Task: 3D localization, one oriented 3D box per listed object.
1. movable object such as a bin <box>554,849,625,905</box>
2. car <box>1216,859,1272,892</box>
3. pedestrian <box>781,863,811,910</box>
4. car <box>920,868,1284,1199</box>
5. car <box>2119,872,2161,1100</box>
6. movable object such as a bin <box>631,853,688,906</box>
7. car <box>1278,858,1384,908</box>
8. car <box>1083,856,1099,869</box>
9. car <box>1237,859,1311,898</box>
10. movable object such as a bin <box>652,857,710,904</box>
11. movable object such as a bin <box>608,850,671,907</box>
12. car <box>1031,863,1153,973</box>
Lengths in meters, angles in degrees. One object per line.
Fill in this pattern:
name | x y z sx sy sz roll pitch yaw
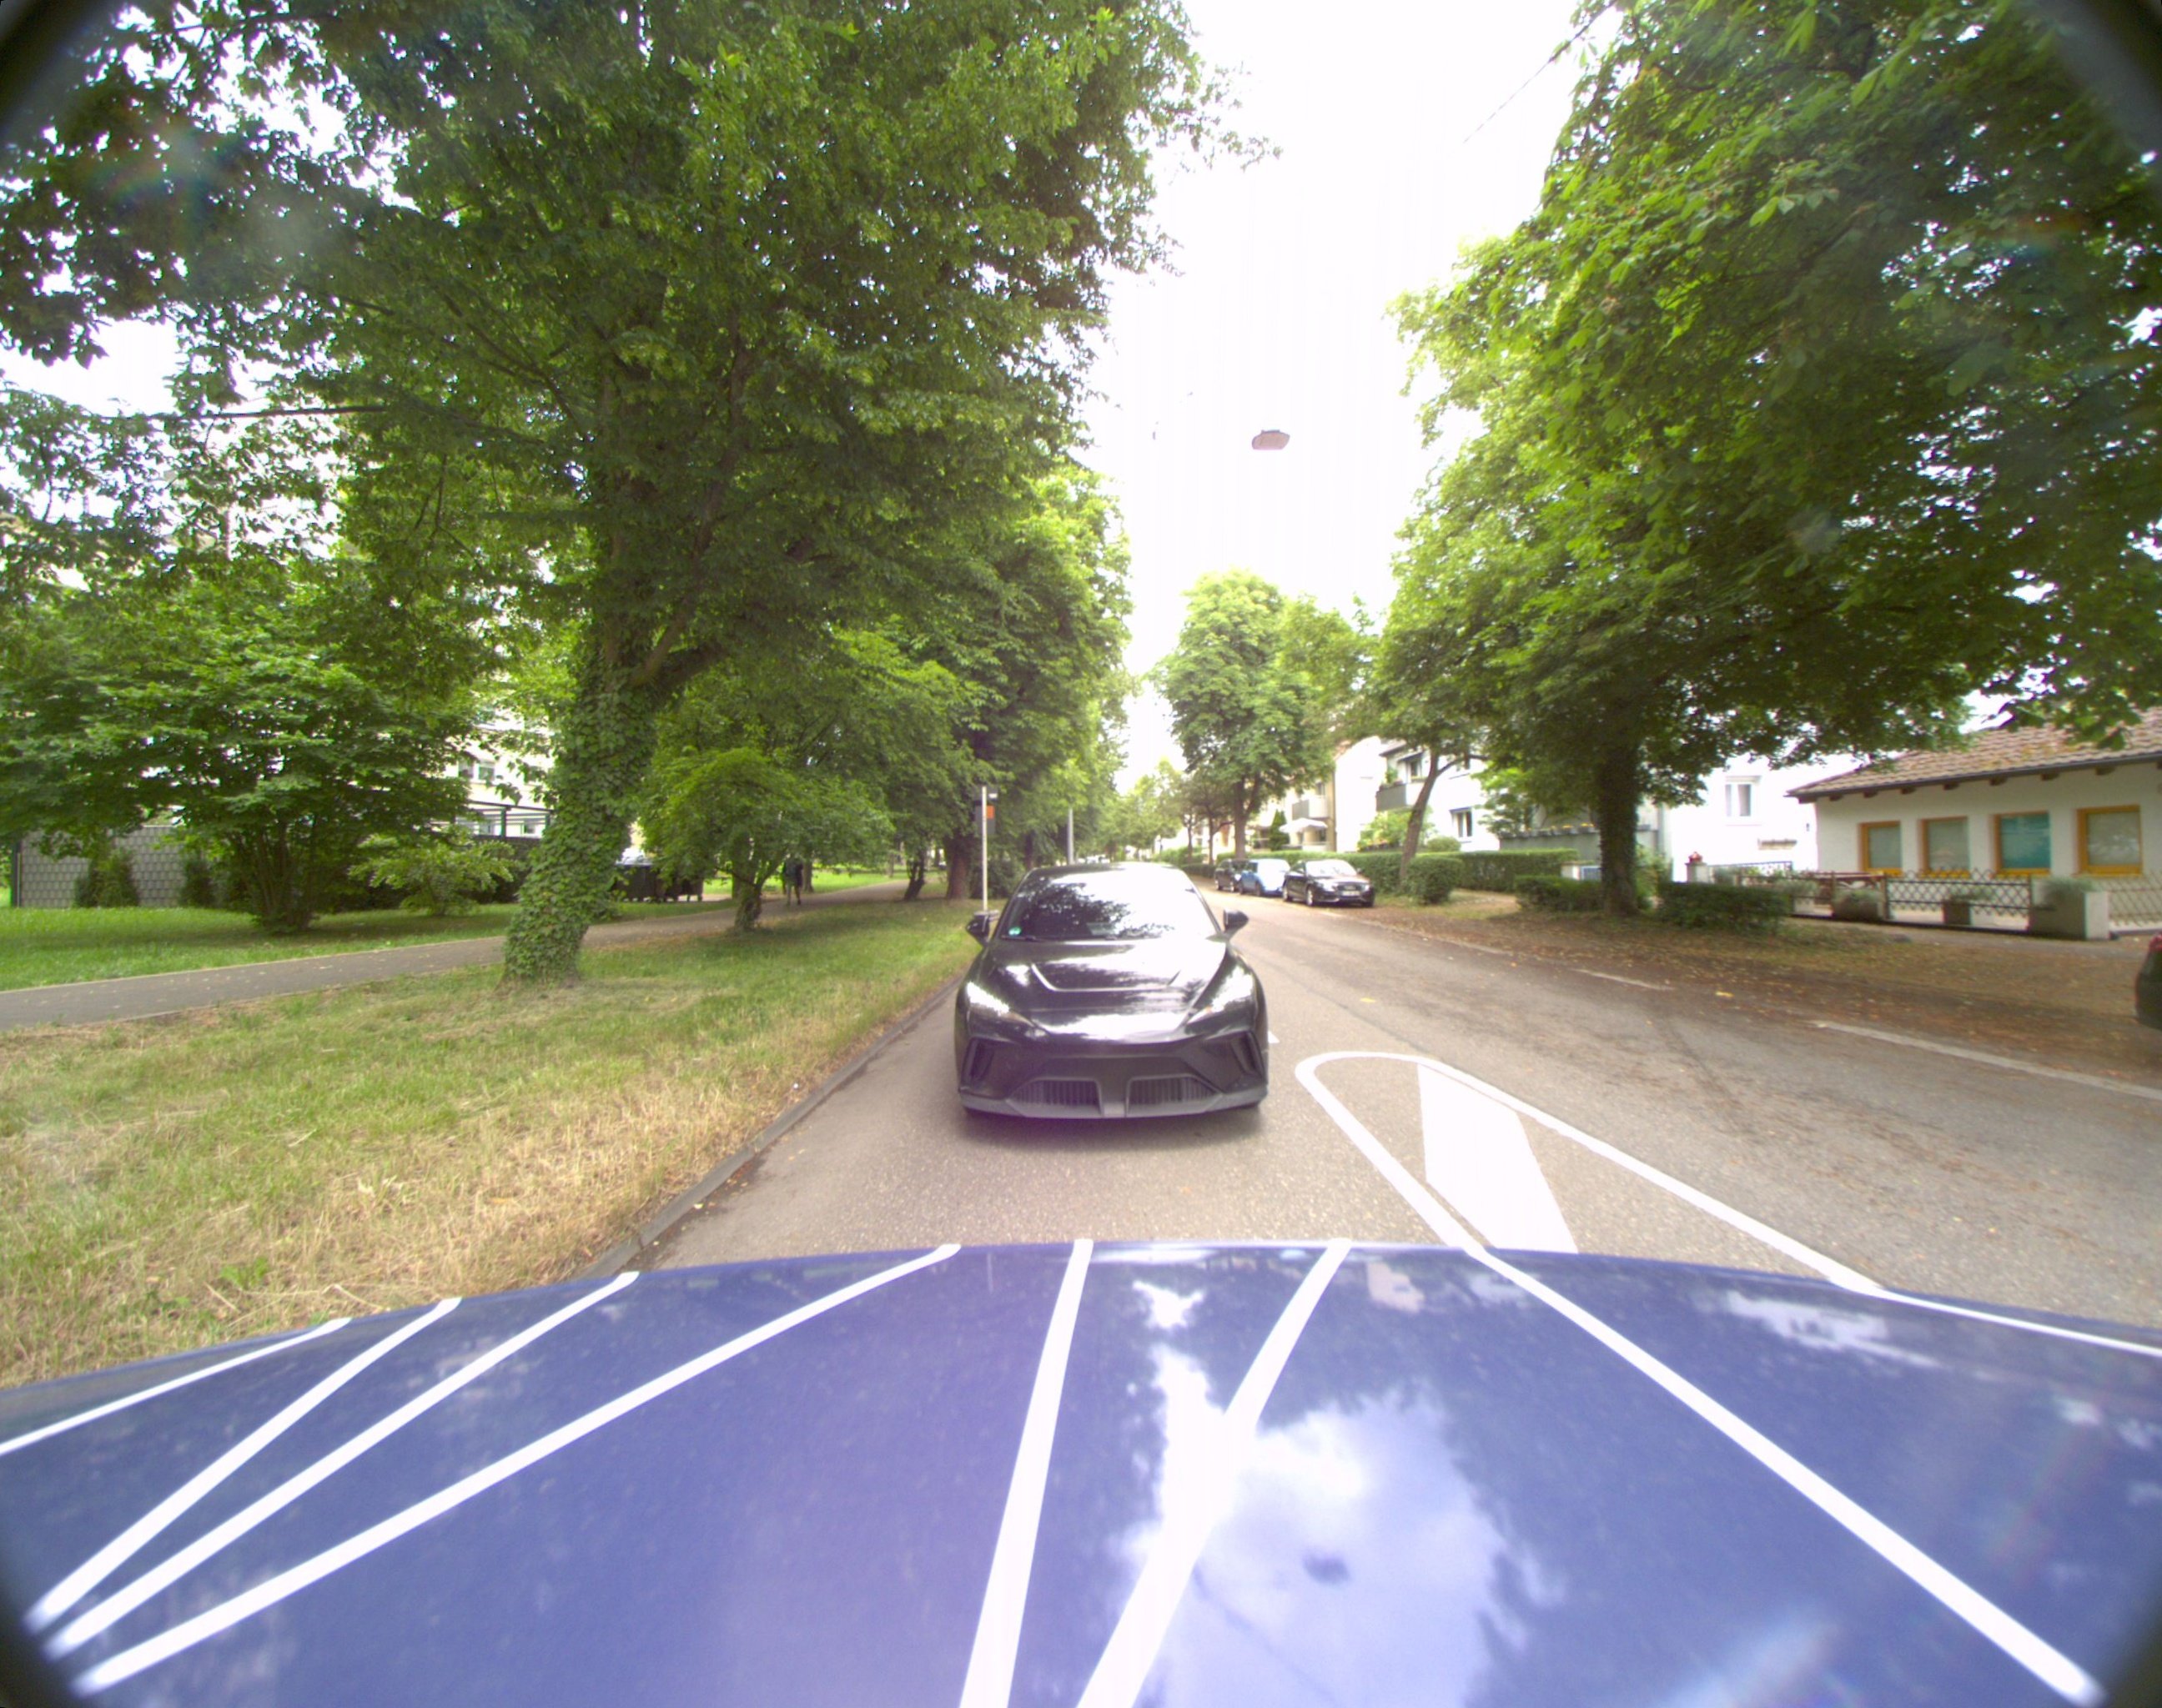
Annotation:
movable object such as a bin | -14.673 0.673 22.723 1.435 1.633 1.020 1 1 -4
car | 7.053 0.901 33.181 1.541 1.368 3.771 0 -1 -1
pedestrian | -8.593 0.965 22.895 0.689 1.373 0.606 0 1 -5
car | 0.217 0.951 5.968 1.803 1.541 4.299 -1 0 3
car | 7.738 0.838 2.722 1.749 1.442 4.593 0 0 0
movable object such as a bin | -13.346 0.788 24.104 1.240 1.633 1.075 1 1 -4
car | 7.524 0.837 23.368 1.852 1.368 4.594 0 -1 2
car | 1.277 1.101 98.001 1.999 1.586 4.000 0 0 0
car | 7.226 0.892 28.850 1.637 1.368 4.151 0 -1 -1
movable object such as a bin | -13.285 0.863 25.299 1.328 1.466 1.201 1 1 -4
movable object such as a bin | -13.193 0.707 22.738 1.278 1.633 1.020 1 1 -4
car | 0.215 0.988 13.407 1.814 1.520 4.000 0 1 1
